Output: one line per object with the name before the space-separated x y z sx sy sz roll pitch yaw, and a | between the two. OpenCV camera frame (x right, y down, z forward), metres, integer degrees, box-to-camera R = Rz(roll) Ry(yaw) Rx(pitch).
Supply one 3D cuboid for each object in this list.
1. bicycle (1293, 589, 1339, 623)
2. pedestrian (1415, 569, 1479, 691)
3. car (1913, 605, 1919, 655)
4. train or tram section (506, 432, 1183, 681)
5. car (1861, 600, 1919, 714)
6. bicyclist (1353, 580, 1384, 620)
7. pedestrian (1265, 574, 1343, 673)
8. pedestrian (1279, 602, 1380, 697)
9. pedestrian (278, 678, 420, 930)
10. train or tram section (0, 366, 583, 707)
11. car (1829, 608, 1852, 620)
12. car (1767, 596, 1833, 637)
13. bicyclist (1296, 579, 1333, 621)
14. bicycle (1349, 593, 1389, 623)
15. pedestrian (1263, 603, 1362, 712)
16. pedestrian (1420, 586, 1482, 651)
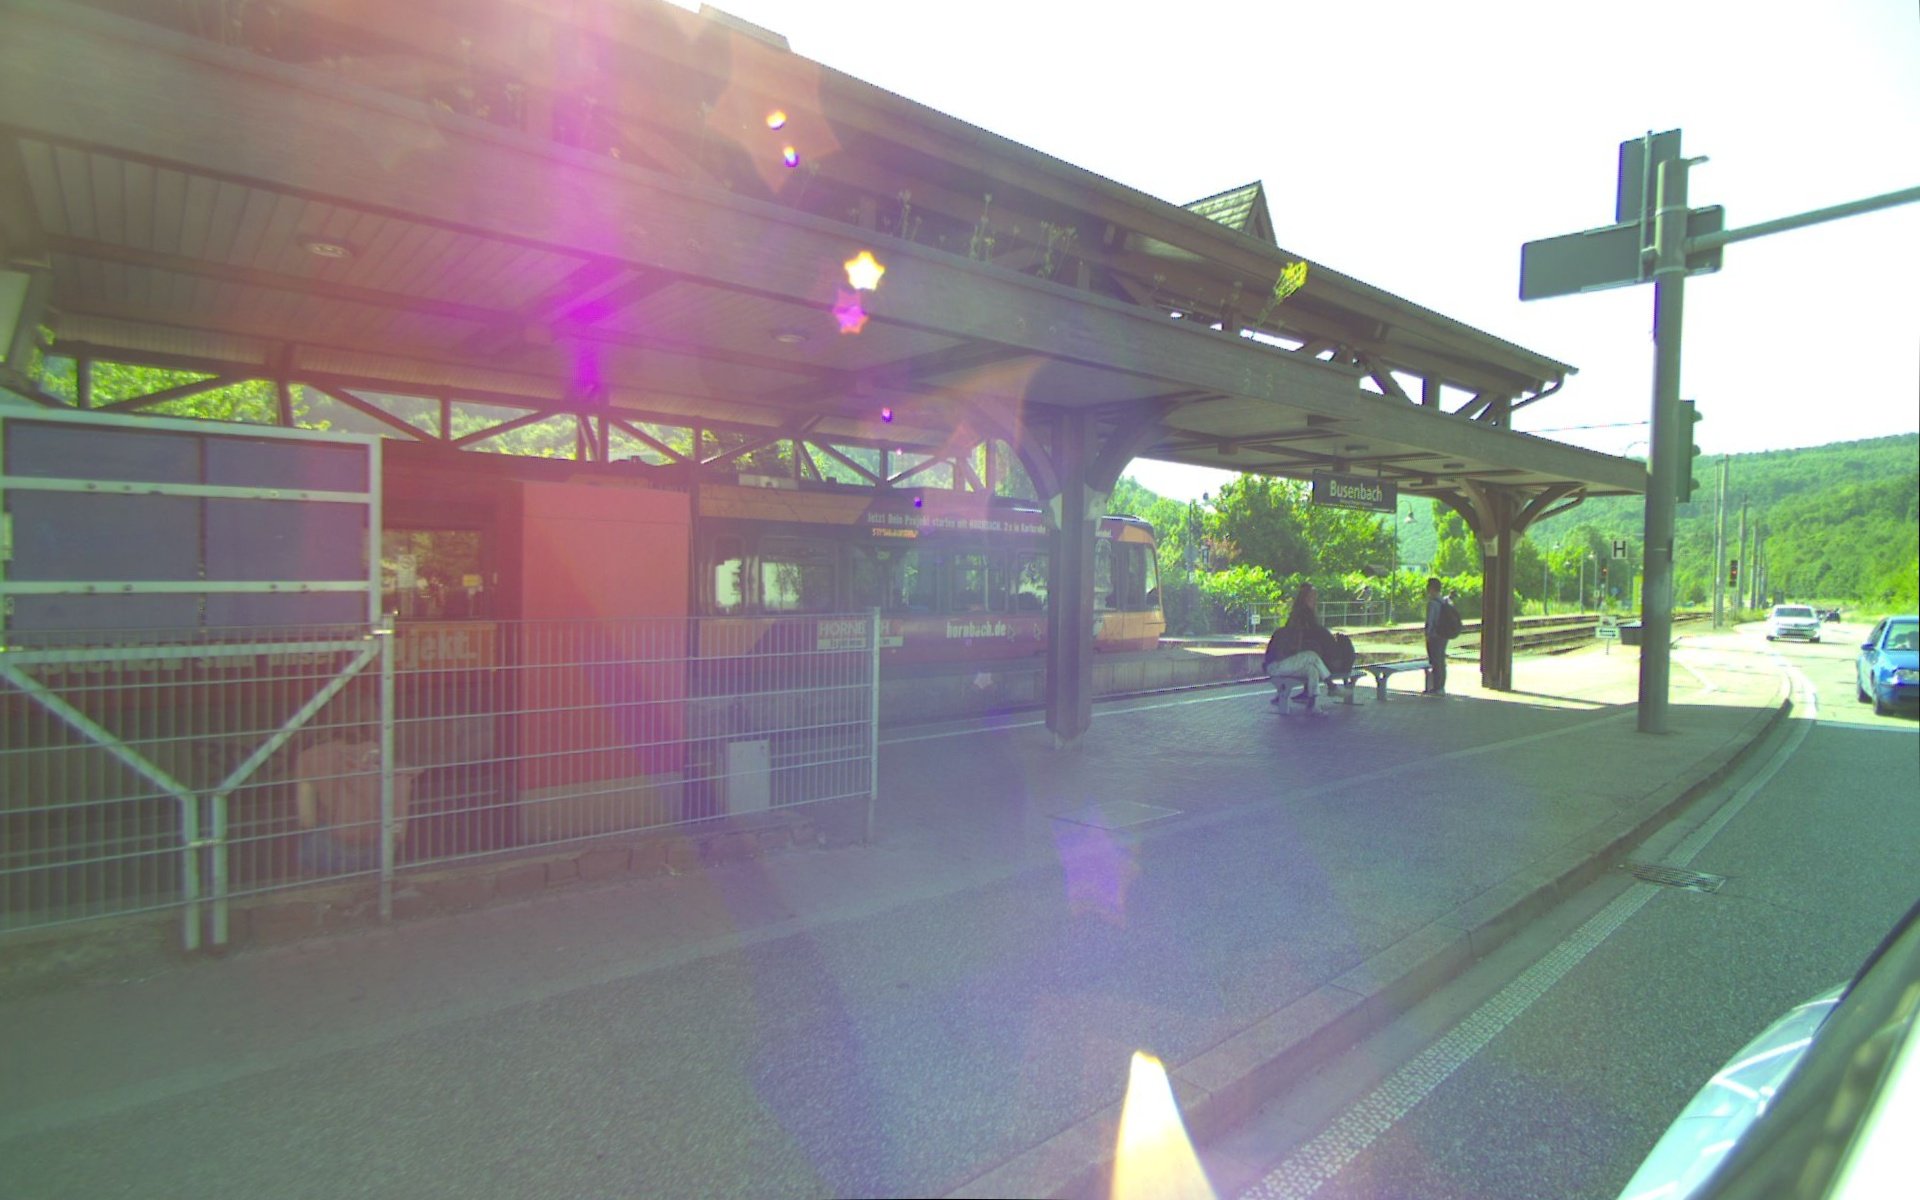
bicycle | 13.944 0.246 39.648 0.870 1.270 2.259 -1 -2 43
pedestrian | 7.081 0.416 14.719 0.656 1.713 0.728 1 0 40
car | 29.119 0.885 29.091 1.969 1.523 3.934 0 -1 36
train or tram section | -1.002 -0.606 19.659 14.109 3.407 2.859 0 0 -43
car | 14.493 0.770 14.635 1.856 1.501 4.243 1 1 38
bicyclist | 18.018 0.013 44.627 1.007 1.748 0.852 -1 -3 43
pedestrian | 5.683 0.377 16.700 0.906 1.567 0.862 2 -1 -42
pedestrian | 4.853 0.619 13.285 1.005 1.174 0.935 0 0 40
pedestrian | -2.706 0.854 4.472 0.400 0.978 0.617 2 -3 -43
train or tram section | -10.548 -0.617 11.074 11.837 3.407 2.791 0 -1 -41
car | 129.789 2.080 149.164 1.986 1.706 3.951 -1 -2 33
car | 34.326 0.667 41.425 1.990 1.605 3.943 -1 -1 39
bicyclist | 13.855 0.014 39.551 1.007 1.574 1.024 -1 -3 43
bicycle | 18.024 0.372 44.587 0.870 1.270 2.259 -1 -2 43
pedestrian | 4.244 0.670 12.202 0.989 1.252 0.588 -1 -2 40
pedestrian | 13.612 0.520 28.083 0.899 1.759 1.251 2 -2 -35
